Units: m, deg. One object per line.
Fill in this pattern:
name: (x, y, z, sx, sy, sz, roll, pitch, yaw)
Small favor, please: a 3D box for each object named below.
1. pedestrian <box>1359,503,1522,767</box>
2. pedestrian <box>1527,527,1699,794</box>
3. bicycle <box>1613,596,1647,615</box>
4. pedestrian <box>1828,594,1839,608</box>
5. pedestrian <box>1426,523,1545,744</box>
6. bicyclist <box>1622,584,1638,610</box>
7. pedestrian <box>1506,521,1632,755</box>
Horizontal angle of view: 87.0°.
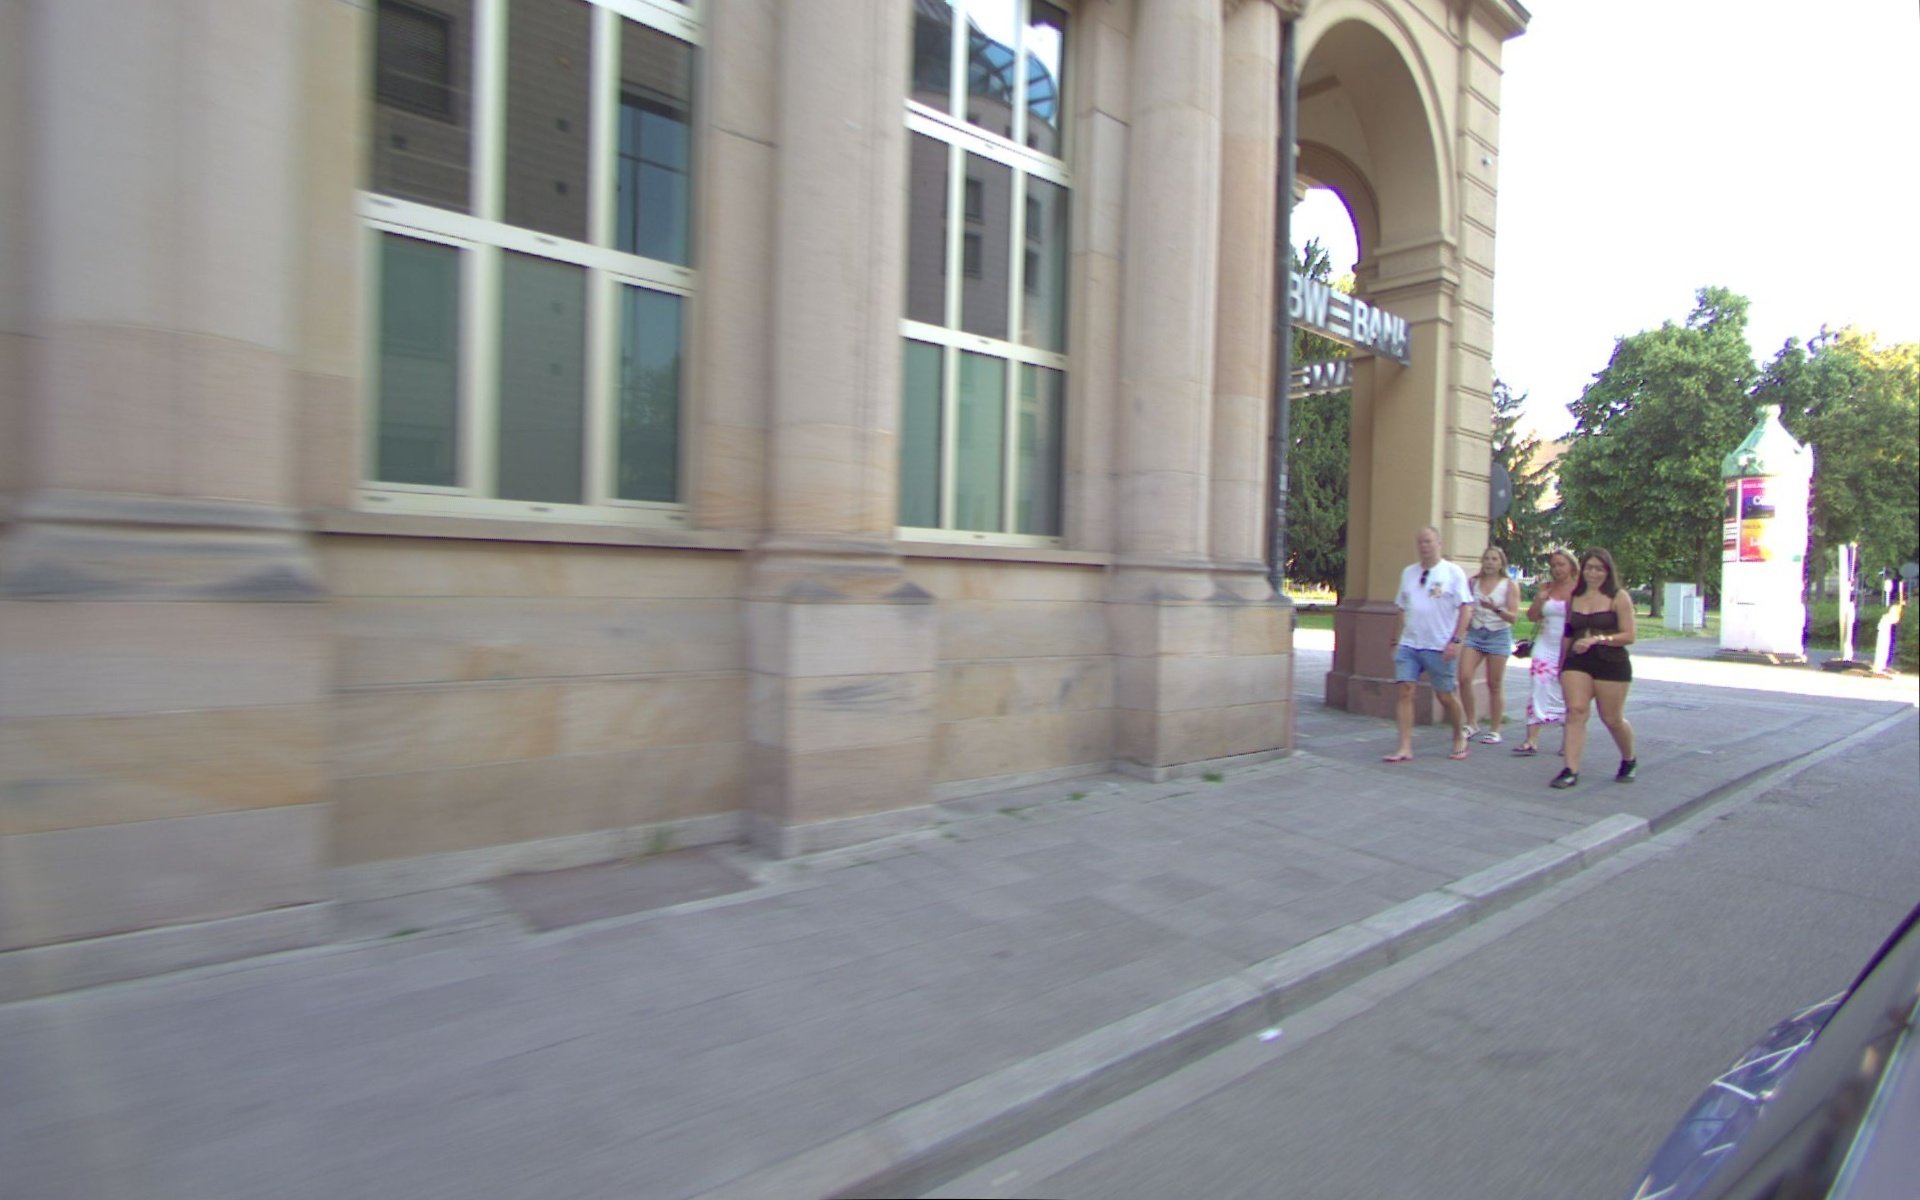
pedestrian: (3.729, 0.232, 7.861, 0.860, 1.898, 0.813, 0, 2, -41)
pedestrian: (4.696, 0.385, 7.280, 0.860, 1.768, 0.777, 0, 2, -41)
bicycle: (44.426, 0.349, 67.115, 1.750, 1.191, 0.563, 2, 1, 16)
pedestrian: (78.320, 0.062, 90.783, 0.594, 1.217, 0.394, 2, 1, 10)
pedestrian: (4.598, 0.260, 8.849, 0.758, 1.825, 0.637, 0, 2, -41)
bicyclist: (44.423, -0.214, 67.110, 0.668, 1.652, 0.656, 2, 1, 16)
pedestrian: (5.035, 0.281, 8.364, 0.758, 1.825, 0.637, 0, 2, -41)
